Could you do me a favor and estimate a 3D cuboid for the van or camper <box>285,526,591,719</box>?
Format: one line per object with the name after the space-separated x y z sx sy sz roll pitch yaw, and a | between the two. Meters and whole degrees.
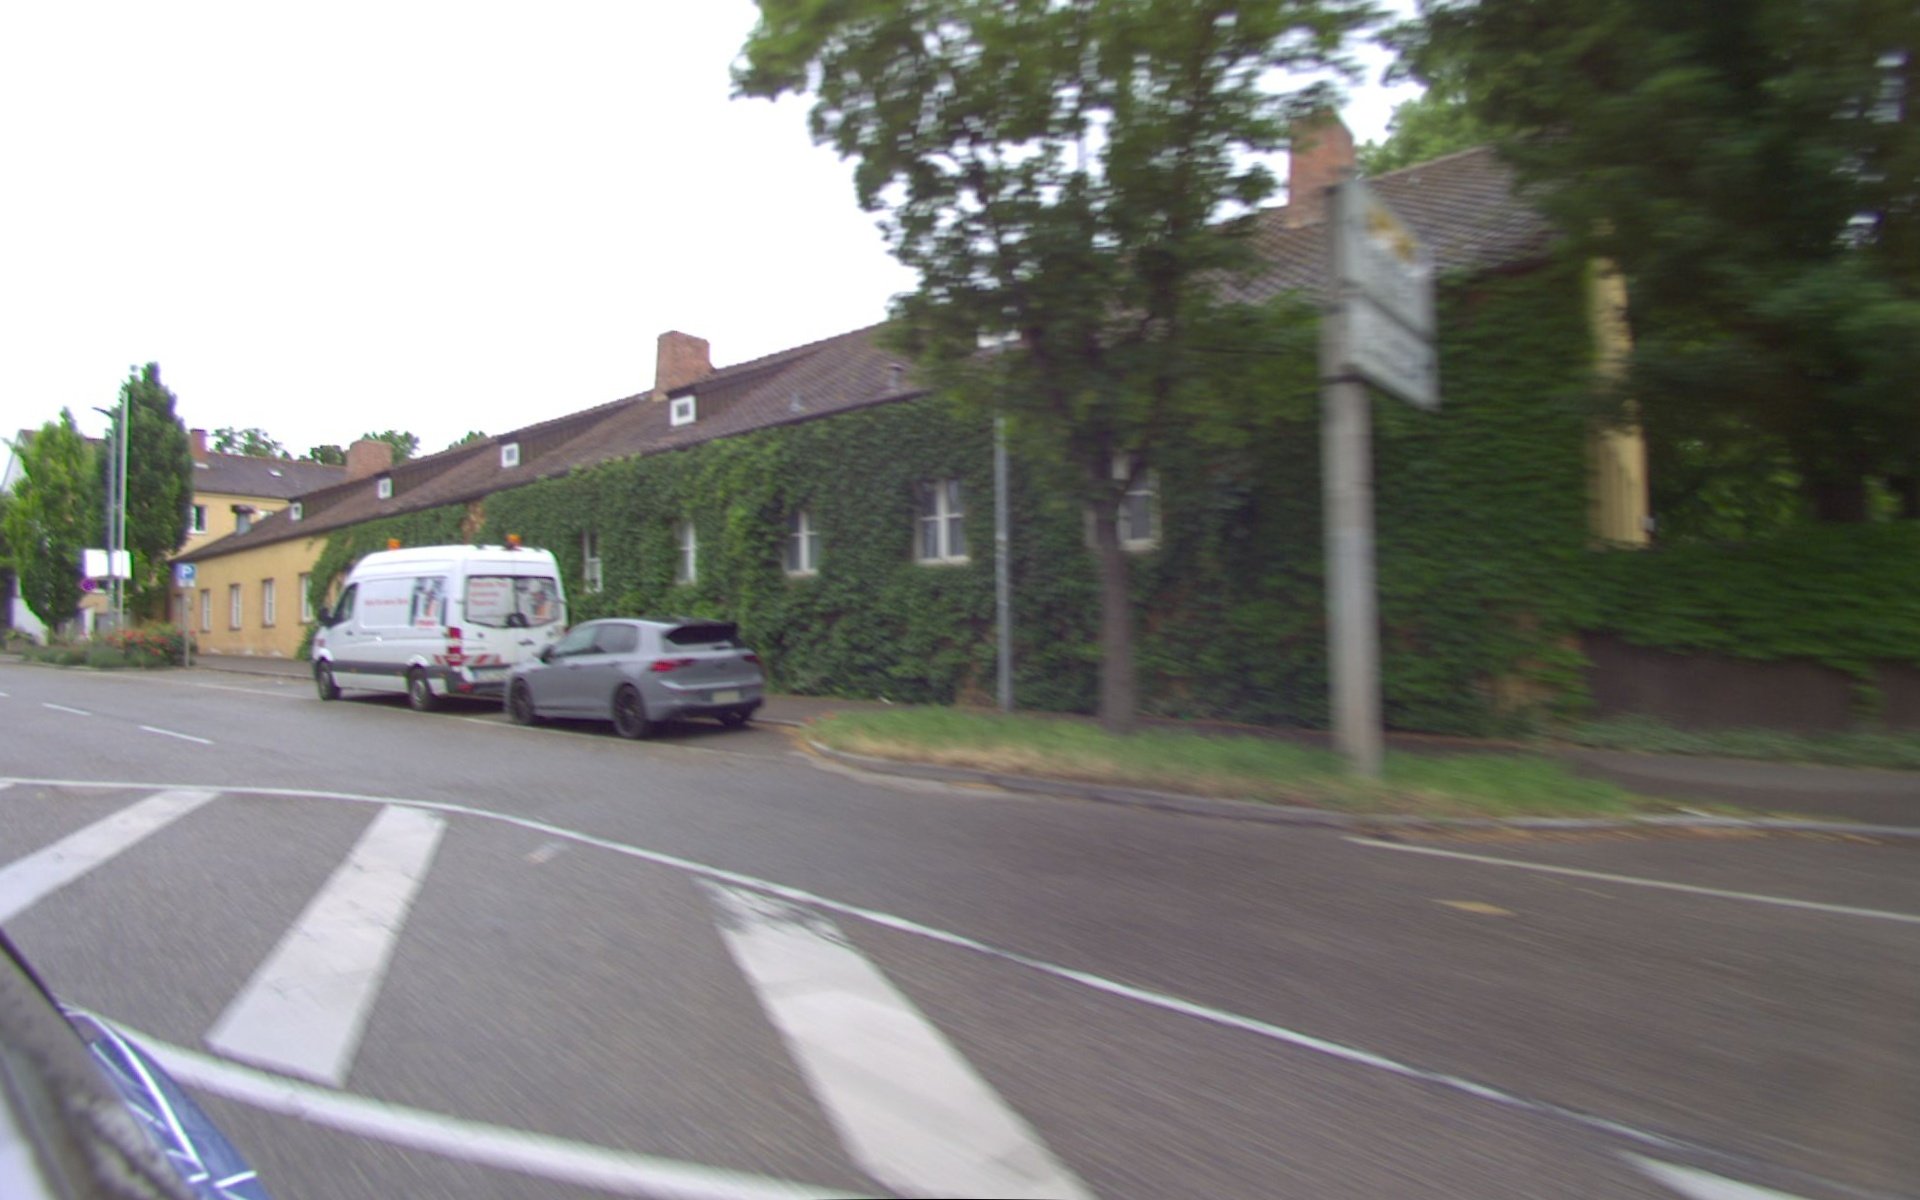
-9.123 0.383 17.392 6.133 2.786 2.318 -2 -1 38 | van or camper

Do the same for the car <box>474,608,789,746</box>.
-4.497 0.892 13.542 4.419 1.524 1.974 -1 0 40 | car
